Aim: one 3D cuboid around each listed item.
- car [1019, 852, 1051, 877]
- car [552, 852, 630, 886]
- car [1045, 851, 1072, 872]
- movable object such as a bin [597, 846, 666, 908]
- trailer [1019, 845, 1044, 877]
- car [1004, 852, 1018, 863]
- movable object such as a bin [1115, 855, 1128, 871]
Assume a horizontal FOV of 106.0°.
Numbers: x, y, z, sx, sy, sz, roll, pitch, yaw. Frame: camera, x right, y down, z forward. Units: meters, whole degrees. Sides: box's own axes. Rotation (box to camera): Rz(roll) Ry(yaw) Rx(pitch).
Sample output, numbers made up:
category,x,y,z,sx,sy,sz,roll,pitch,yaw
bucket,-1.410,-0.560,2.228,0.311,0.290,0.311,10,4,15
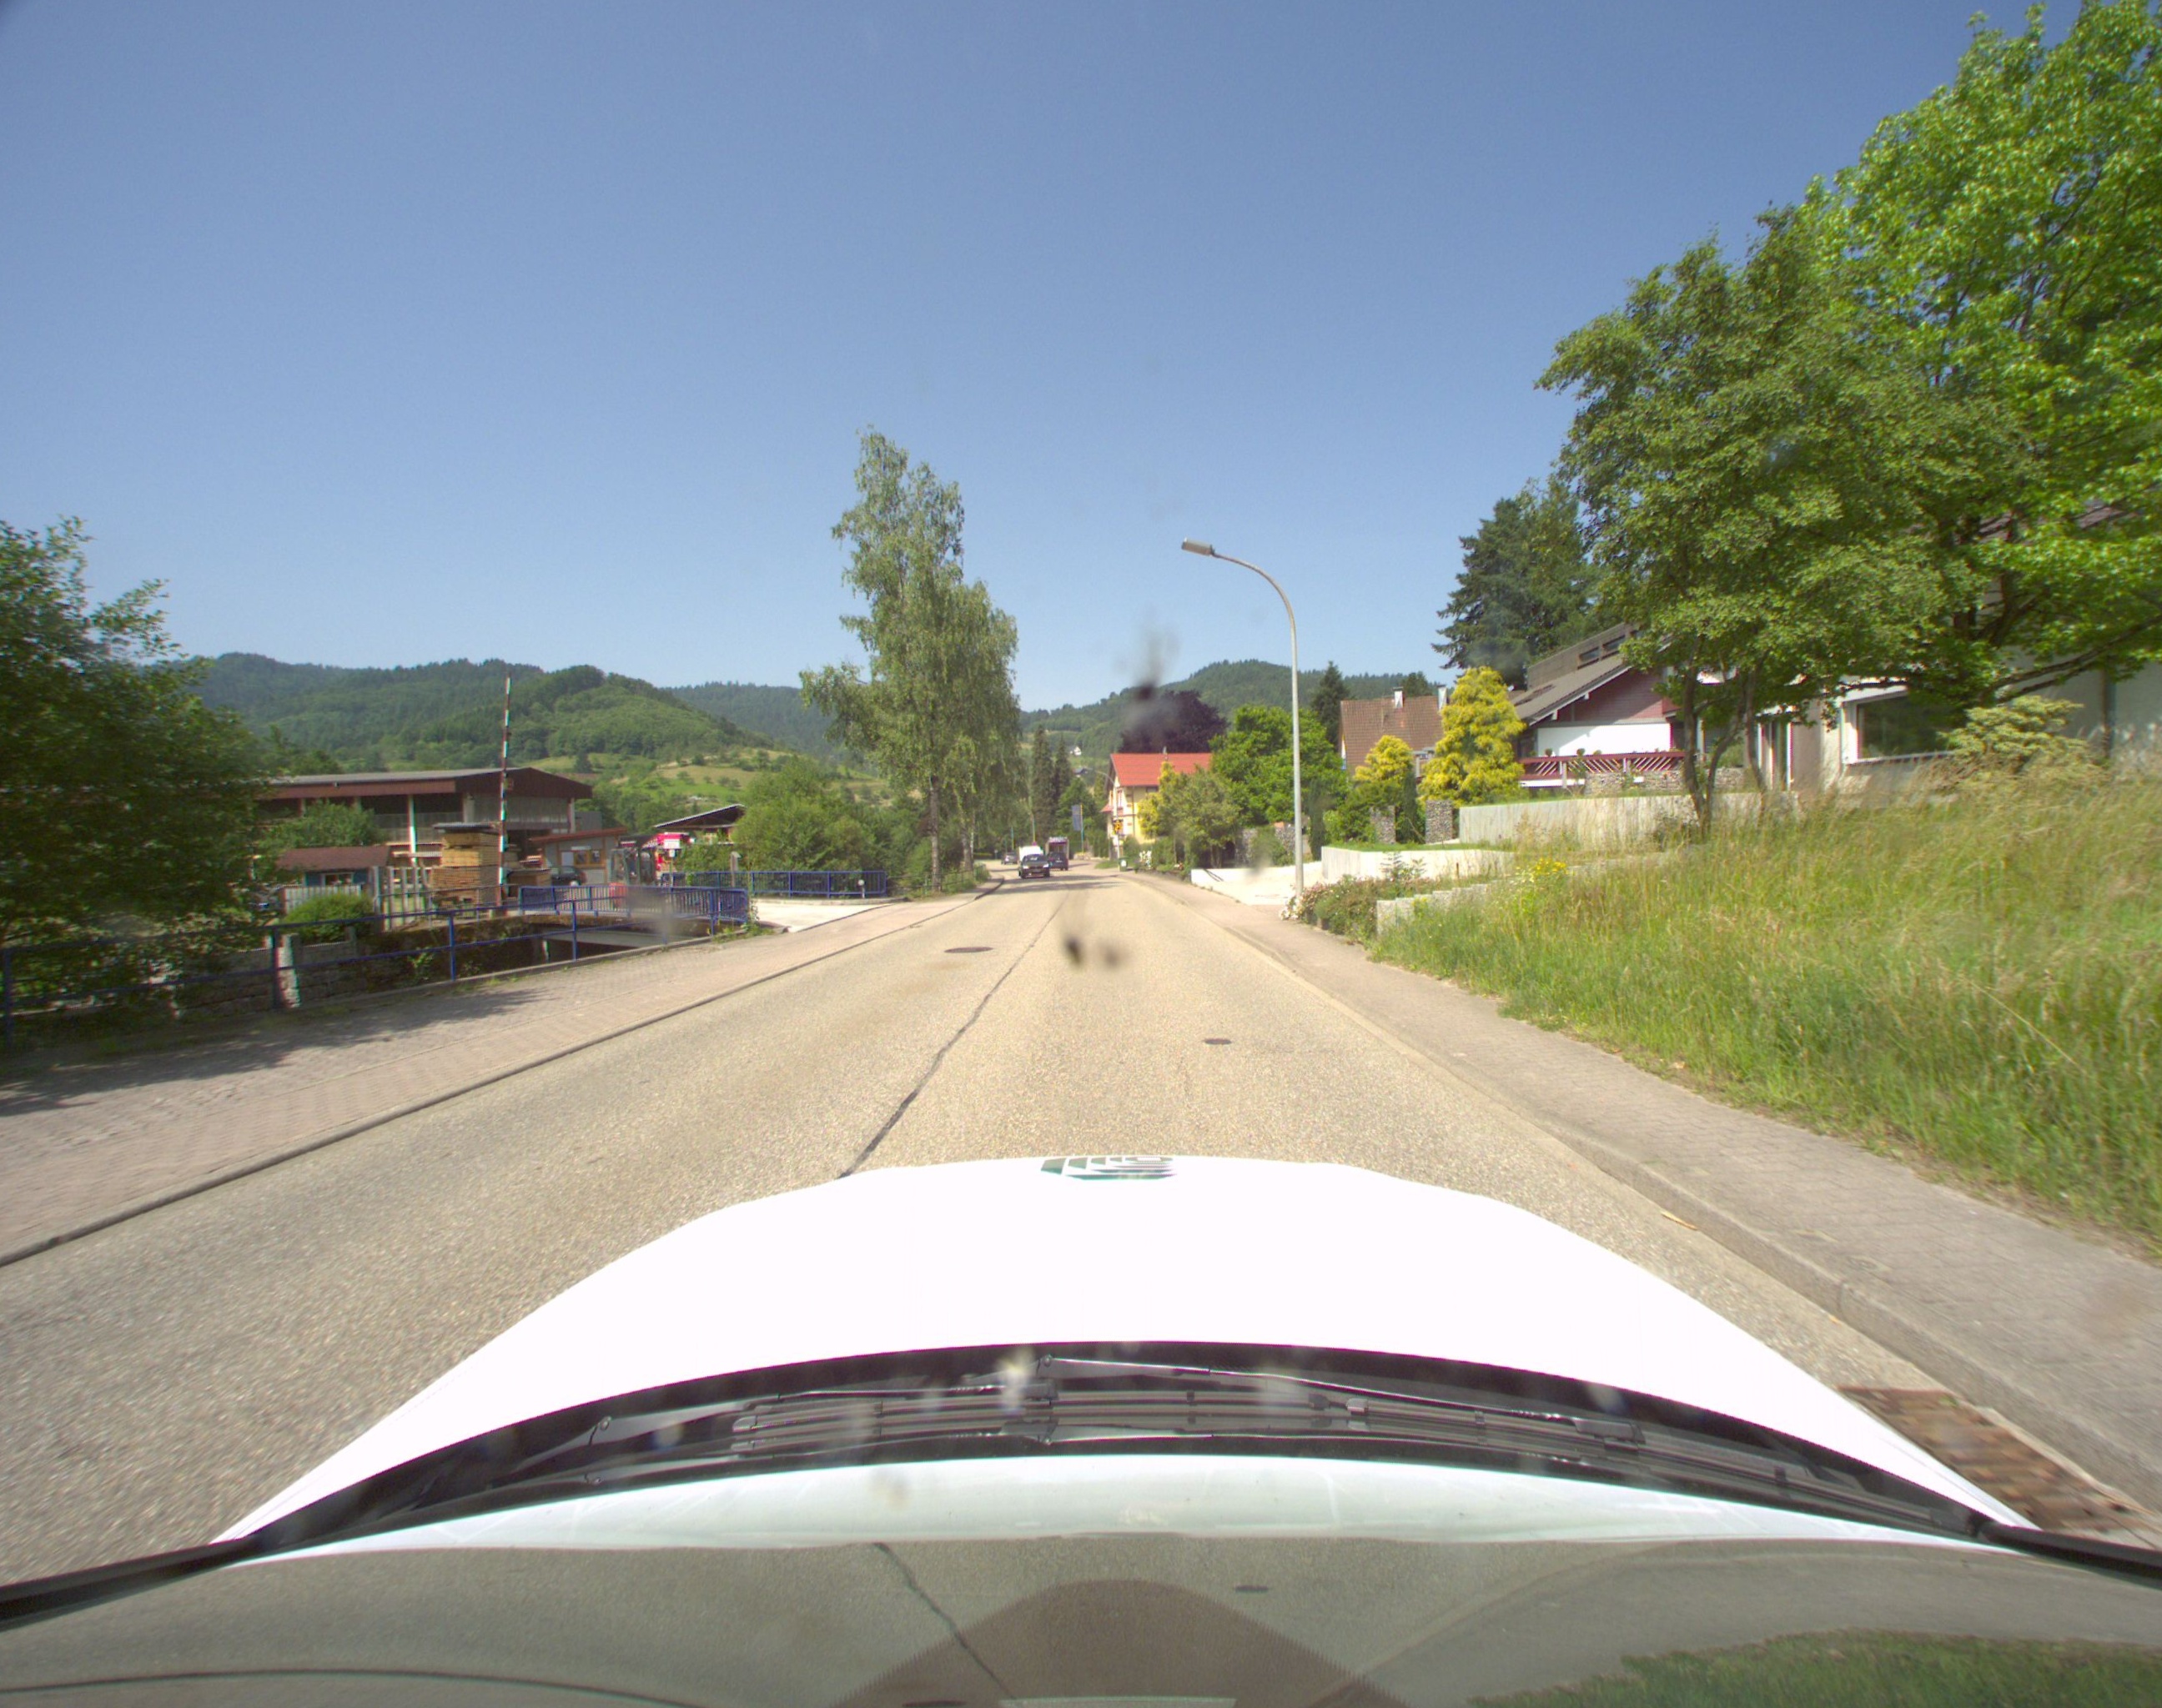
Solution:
category,x,y,z,sx,sy,sz,roll,pitch,yaw
car,-2.957,0.660,53.188,1.808,1.500,4.148,-3,0,-1
car,-33.157,0.999,55.157,1.974,2.013,4.026,-3,0,40
car,-1.957,0.638,70.781,1.918,1.698,3.778,-3,0,-8
movable object such as a bin,-15.888,0.808,28.787,2.099,2.072,1.143,-3,0,30
trailer,-3.447,0.462,57.316,1.462,2.077,3.669,-3,0,-1
car,-8.856,0.432,103.129,1.627,1.422,3.391,-1,0,-6
movable object such as a bin,2.912,0.640,58.054,0.808,1.042,0.577,-3,0,-7
